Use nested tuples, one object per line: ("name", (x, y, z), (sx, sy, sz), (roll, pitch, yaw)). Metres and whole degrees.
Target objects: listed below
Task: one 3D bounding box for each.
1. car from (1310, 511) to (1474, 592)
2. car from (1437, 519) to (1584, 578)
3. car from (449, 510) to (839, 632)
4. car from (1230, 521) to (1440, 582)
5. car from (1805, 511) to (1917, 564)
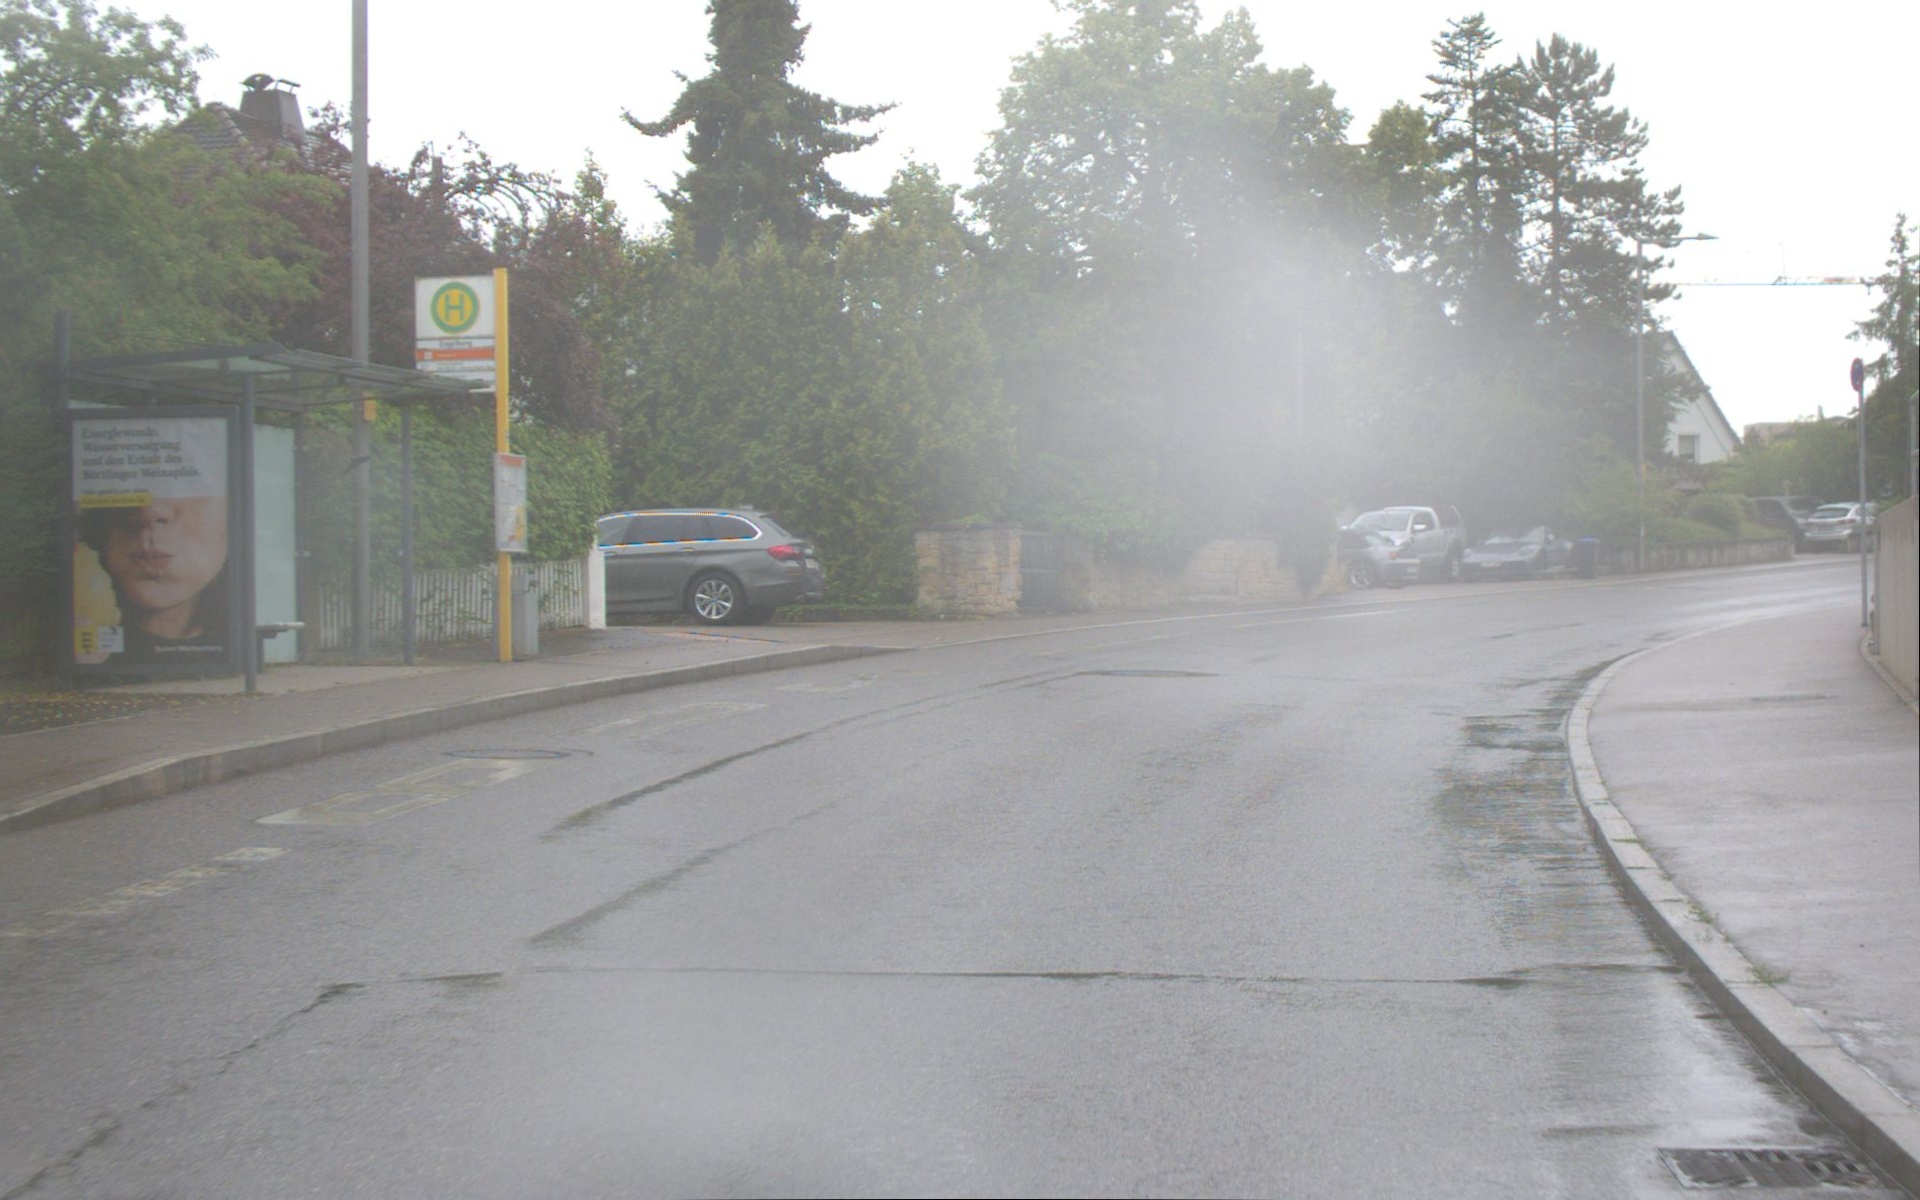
("car", (10.212, -1.158, 80.825), (1.996, 1.837, 5.470), (0, 1, 28))
("car", (12.894, -1.215, 80.282), (1.997, 1.303, 4.426), (-1, 1, 29))
("car", (-3.912, -0.387, 42.898), (4.542, 1.471, 1.838), (0, 1, 9))
("car", (7.907, -1.025, 72.619), (3.994, 1.267, 1.870), (0, 1, 32))
("car", (27.591, -1.907, 105.192), (1.738, 1.546, 3.991), (0, 1, 40))
